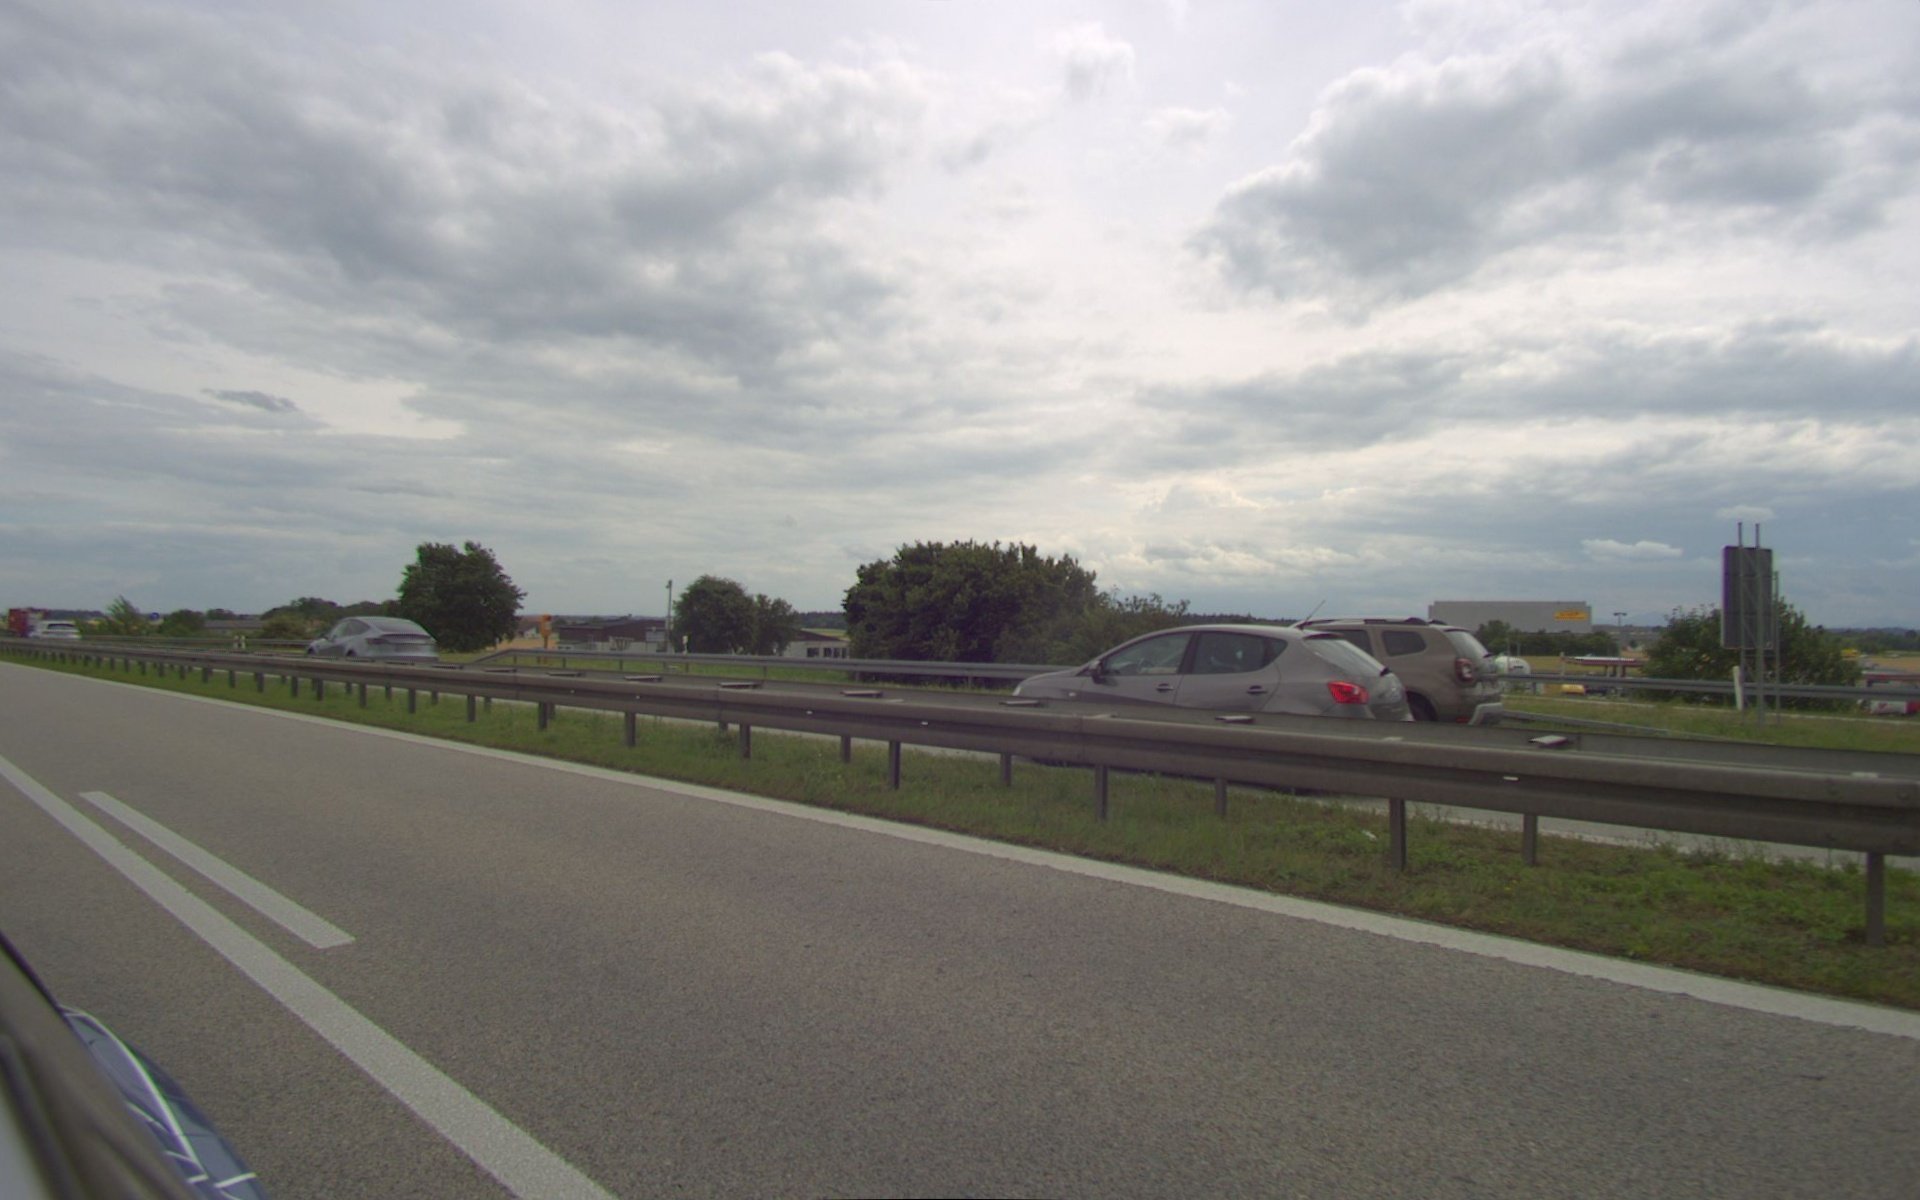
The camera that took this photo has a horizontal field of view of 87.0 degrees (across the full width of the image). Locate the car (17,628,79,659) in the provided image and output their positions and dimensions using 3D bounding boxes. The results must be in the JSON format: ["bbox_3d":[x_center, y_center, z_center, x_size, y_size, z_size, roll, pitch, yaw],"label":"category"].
[{"bbox_3d":[-50.031,2.374,55.477,4.759,1.600,1.872,-2,-3,40],"label":"car"}]

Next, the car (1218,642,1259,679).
[{"bbox_3d":[16.832,3.604,61.287,1.978,2.029,3.988,-1,-1,10],"label":"car"}]

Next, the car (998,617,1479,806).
[{"bbox_3d":[2.466,0.908,9.534,3.998,1.404,1.781,-2,-3,41],"label":"car"}]

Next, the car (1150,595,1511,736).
[{"bbox_3d":[4.716,0.769,13.173,3.998,1.403,1.782,-2,4,41],"label":"car"}]

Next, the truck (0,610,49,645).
[{"bbox_3d":[-101.630,2.981,109.554,11.067,3.563,2.642,-1,-4,39],"label":"truck"}]

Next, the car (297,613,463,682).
[{"bbox_3d":[-14.901,1.187,25.902,4.996,1.600,2.114,-2,-3,40],"label":"car"}]
